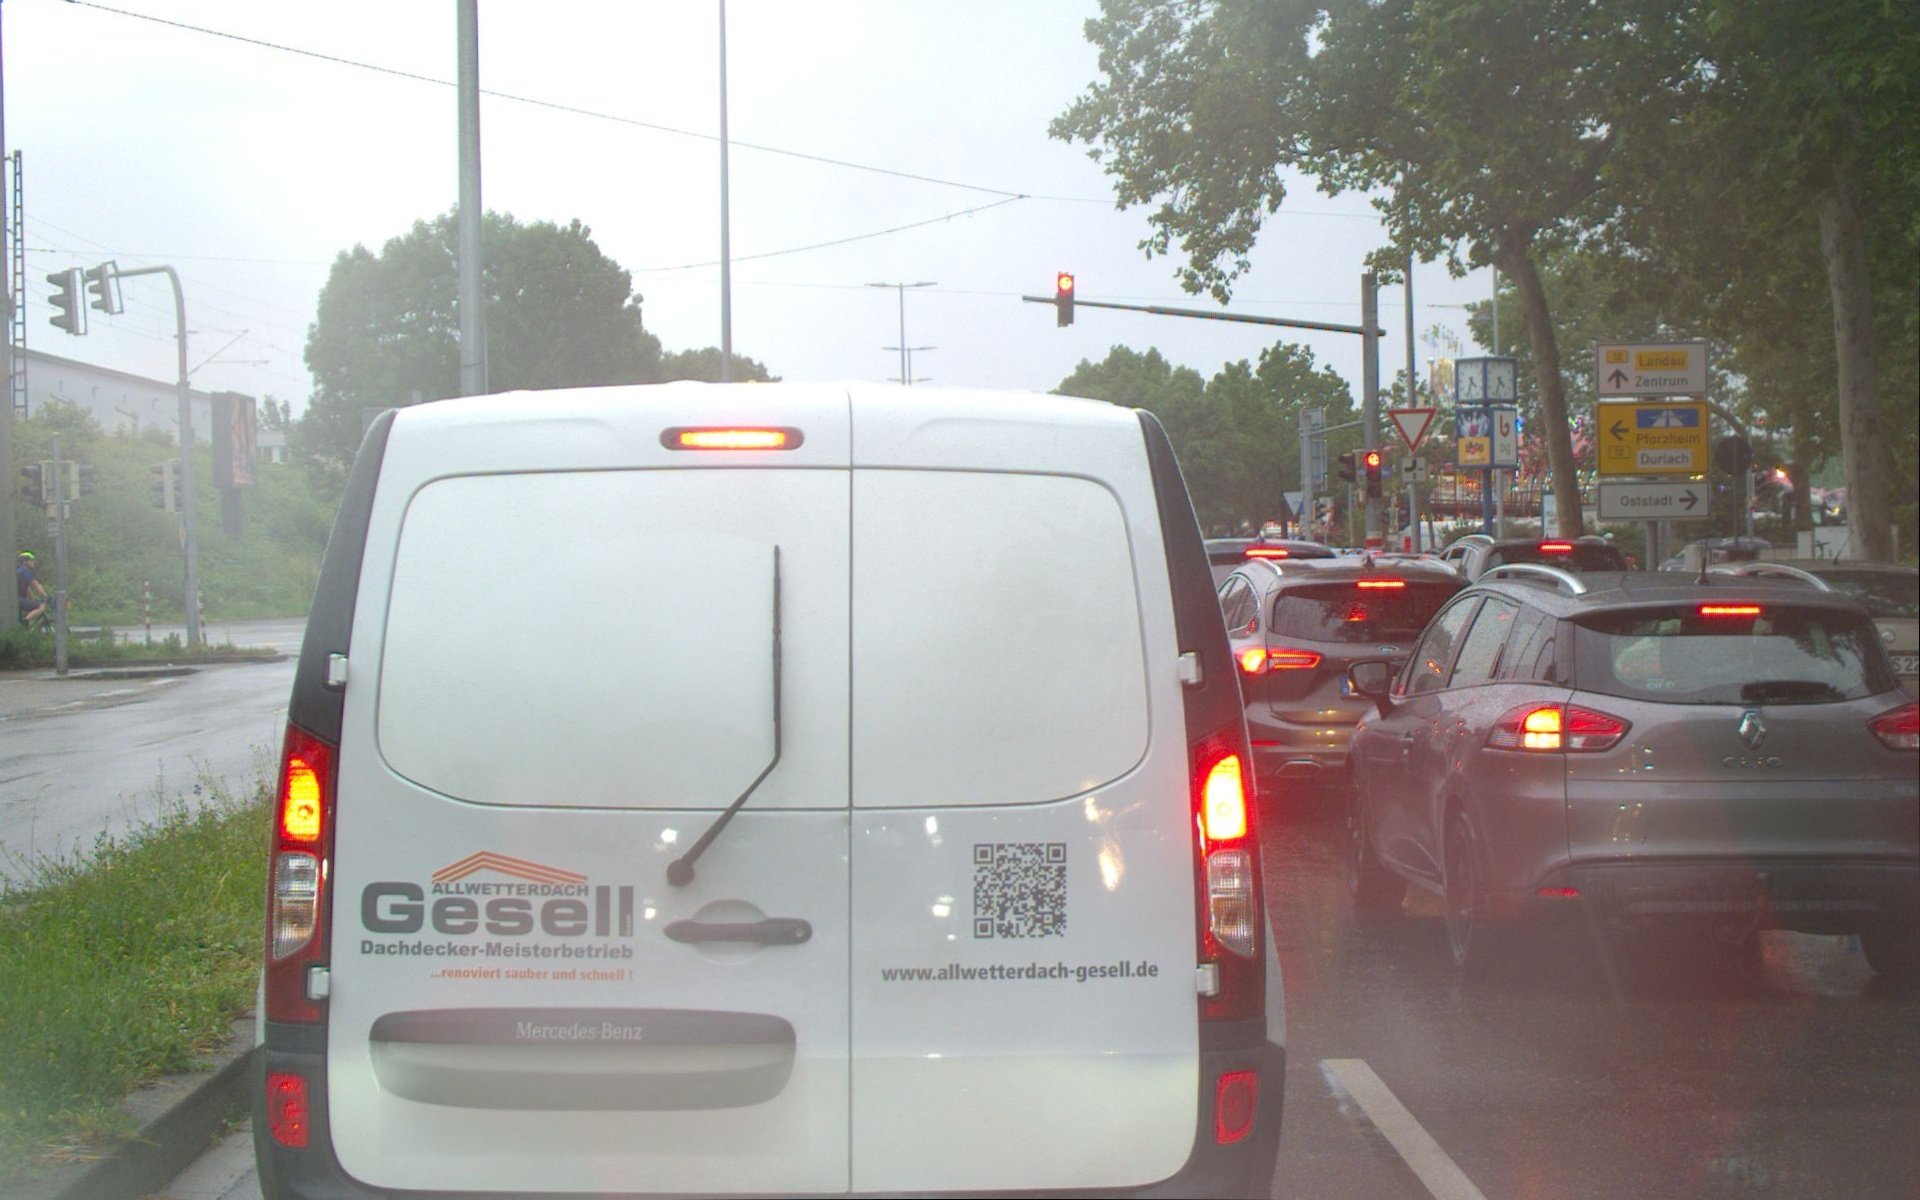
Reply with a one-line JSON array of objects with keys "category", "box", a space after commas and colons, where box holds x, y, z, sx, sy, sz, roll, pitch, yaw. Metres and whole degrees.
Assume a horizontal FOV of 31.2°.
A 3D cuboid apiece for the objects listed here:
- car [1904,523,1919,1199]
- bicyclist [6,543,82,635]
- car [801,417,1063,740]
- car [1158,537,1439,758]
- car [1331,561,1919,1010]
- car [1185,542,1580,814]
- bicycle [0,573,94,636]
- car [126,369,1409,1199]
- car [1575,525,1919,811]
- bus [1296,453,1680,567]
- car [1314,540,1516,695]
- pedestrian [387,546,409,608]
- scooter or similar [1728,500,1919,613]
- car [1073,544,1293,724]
[{"category": "car", "box": [2.972, 0.647, 5.414, 1.747, 1.549, 4.091, 0, 1, -1]}, {"category": "bicyclist", "box": [-14.796, -0.185, 55.535, 1.040, 1.445, 0.729, -2, 2, -25]}, {"category": "car", "box": [-0.221, -0.193, 26.358, 1.854, 2.288, 3.843, 0, 1, -1]}, {"category": "car", "box": [2.669, 0.323, 27.866, 1.854, 1.644, 3.843, 0, 1, -1]}, {"category": "car", "box": [2.512, 0.585, 13.083, 1.683, 1.403, 3.843, 1, 1, -1]}, {"category": "car", "box": [2.428, 0.392, 20.638, 1.854, 1.455, 3.843, 0, 1, -1]}, {"category": "bicycle", "box": [-14.811, 0.059, 55.584, 1.040, 0.949, 2.889, -2, 2, -25]}, {"category": "car", "box": [-0.321, 0.479, 7.656, 1.993, 1.770, 4.585, 0, 1, -1]}, {"category": "car", "box": [5.255, 0.360, 21.891, 1.876, 1.607, 4.000, 1, 1, -1]}, {"category": "bus", "box": [16.962, -2.918, 110.880, 11.970, 3.411, 2.315, -1, 1, 0]}, {"category": "car", "box": [5.052, 0.165, 38.638, 1.708, 1.644, 3.843, 0, 1, -1]}, {"category": "pedestrian", "box": [-15.695, -0.642, 95.979, 0.543, 1.710, 0.563, 1, 0, -4]}, {"category": "scooter or similar", "box": [19.986, -0.985, 77.066, 1.890, 2.437, 5.316, -1, 1, -41]}, {"category": "car", "box": [2.112, 0.295, 33.529, 1.854, 1.644, 3.843, 0, 1, -1]}]
